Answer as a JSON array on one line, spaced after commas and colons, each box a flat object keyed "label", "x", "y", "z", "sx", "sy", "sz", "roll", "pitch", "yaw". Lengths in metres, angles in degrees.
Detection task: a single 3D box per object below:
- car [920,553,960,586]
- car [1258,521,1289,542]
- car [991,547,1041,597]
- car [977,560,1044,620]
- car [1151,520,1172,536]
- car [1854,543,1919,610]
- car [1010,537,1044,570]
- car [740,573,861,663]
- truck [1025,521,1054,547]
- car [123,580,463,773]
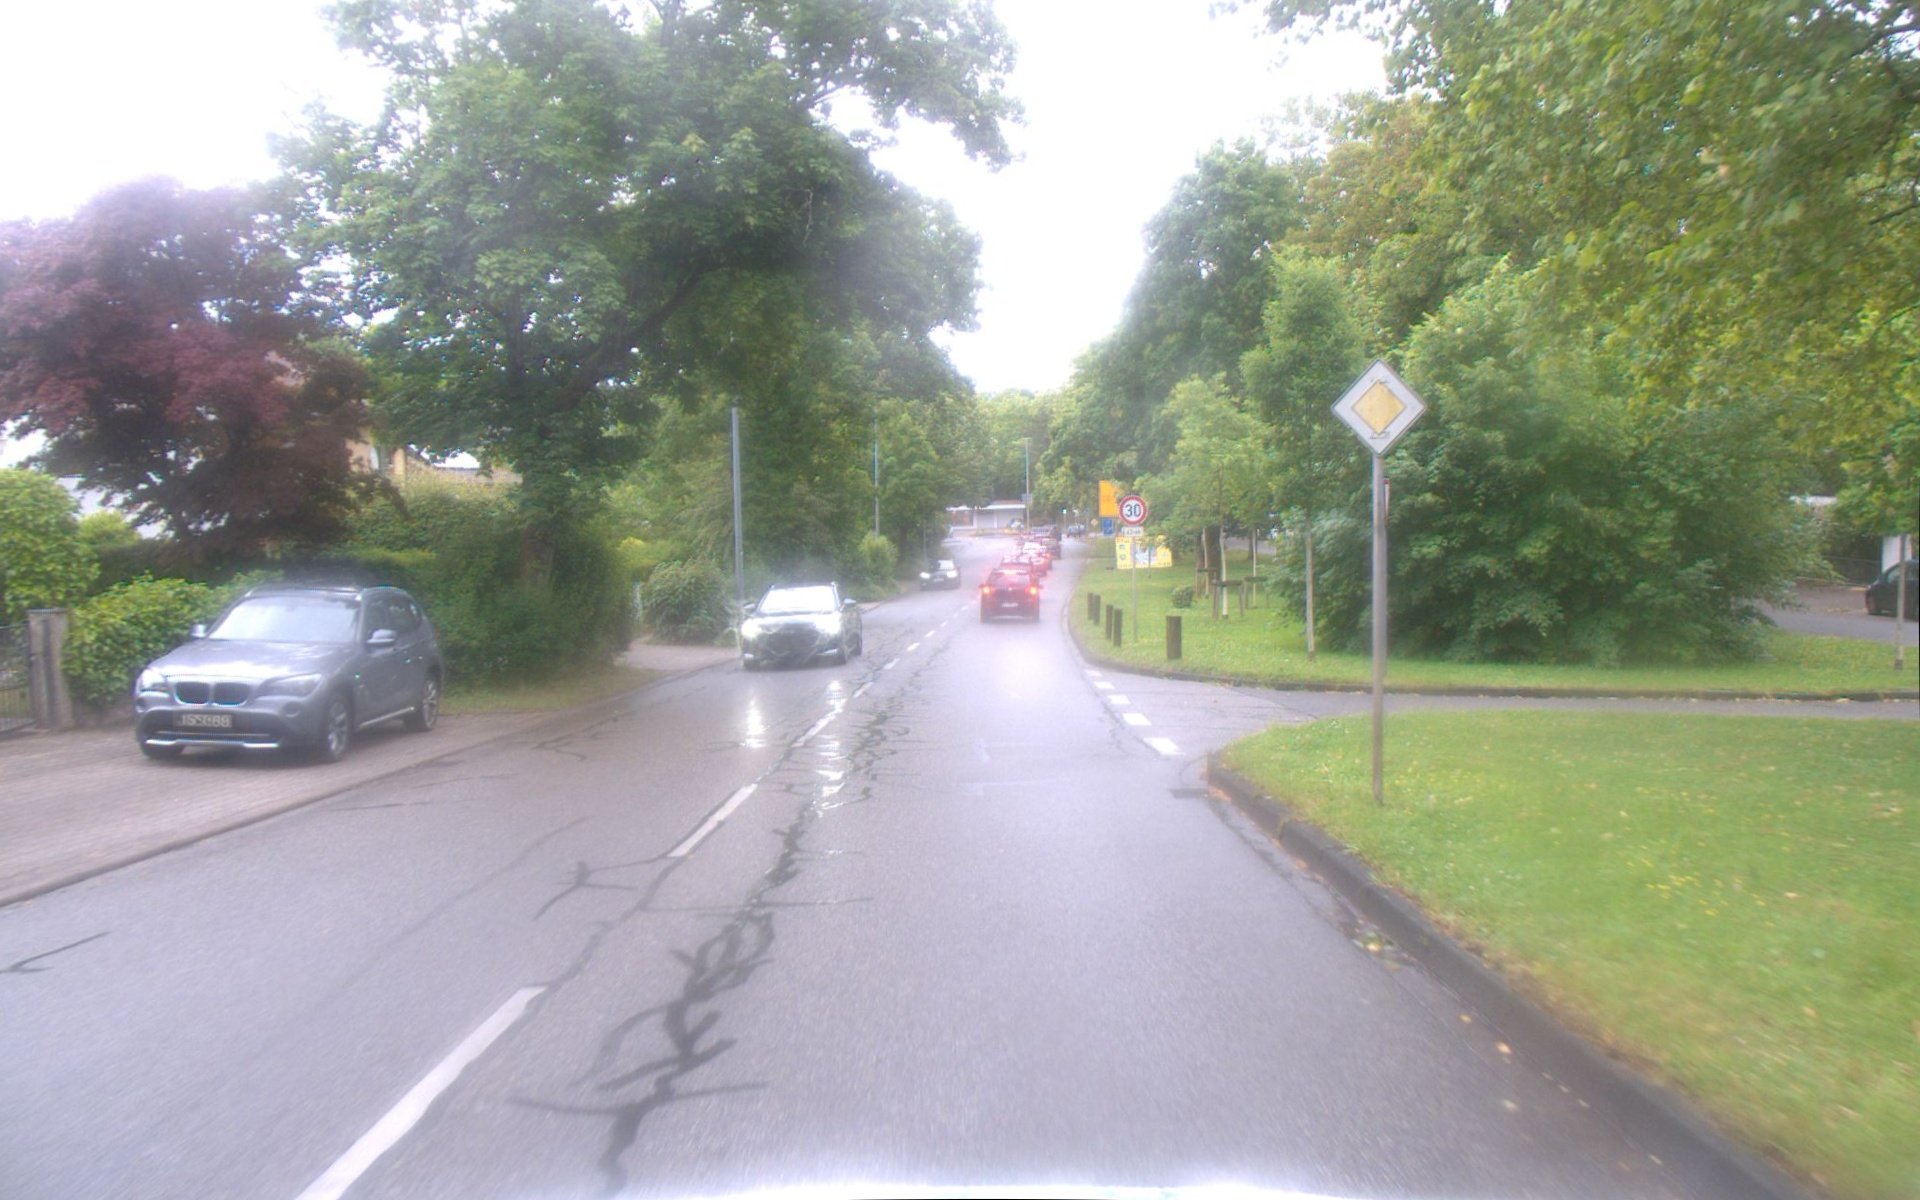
[{"label": "car", "x": -0.937, "y": -1.512, "z": 80.871, "sx": 1.718, "sy": 1.386, "sz": 4.327, "roll": -3, "pitch": 3, "yaw": 2}, {"label": "car", "x": 25.344, "y": -5.554, "z": 133.741, "sx": 1.583, "sy": 1.433, "sz": 4.011, "roll": -3, "pitch": 4, "yaw": -1}, {"label": "car", "x": 2.268, "y": -1.138, "z": 66.369, "sx": 1.816, "sy": 1.815, "sz": 4.004, "roll": -1, "pitch": 3, "yaw": 4}, {"label": "car", "x": 1.510, "y": -0.317, "z": 48.538, "sx": 1.761, "sy": 1.541, "sz": 3.757, "roll": 2, "pitch": 3, "yaw": 4}, {"label": "car", "x": 20.276, "y": -7.290, "z": 166.581, "sx": 1.766, "sy": 1.409, "sz": 4.004, "roll": -3, "pitch": 4, "yaw": 4}, {"label": "car", "x": 25.640, "y": -0.649, "z": 43.730, "sx": 1.863, "sy": 1.652, "sz": 4.036, "roll": -2, "pitch": 2, "yaw": 1}, {"label": "car", "x": 3.947, "y": -2.754, "z": 96.939, "sx": 1.816, "sy": 1.815, "sz": 4.004, "roll": -1, "pitch": 3, "yaw": 4}, {"label": "car", "x": -2.844, "y": 0.291, "z": 30.410, "sx": 1.655, "sy": 1.420, "sz": 4.491, "roll": -4, "pitch": 0, "yaw": 1}, {"label": "truck", "x": 6.844, "y": -5.698, "z": 142.430, "sx": 2.366, "sy": 2.039, "sz": 5.154, "roll": -2, "pitch": 3, "yaw": 3}, {"label": "car", "x": -6.388, "y": 0.636, "z": 16.390, "sx": 1.629, "sy": 1.569, "sz": 4.284, "roll": 2, "pitch": 1, "yaw": -1}]
